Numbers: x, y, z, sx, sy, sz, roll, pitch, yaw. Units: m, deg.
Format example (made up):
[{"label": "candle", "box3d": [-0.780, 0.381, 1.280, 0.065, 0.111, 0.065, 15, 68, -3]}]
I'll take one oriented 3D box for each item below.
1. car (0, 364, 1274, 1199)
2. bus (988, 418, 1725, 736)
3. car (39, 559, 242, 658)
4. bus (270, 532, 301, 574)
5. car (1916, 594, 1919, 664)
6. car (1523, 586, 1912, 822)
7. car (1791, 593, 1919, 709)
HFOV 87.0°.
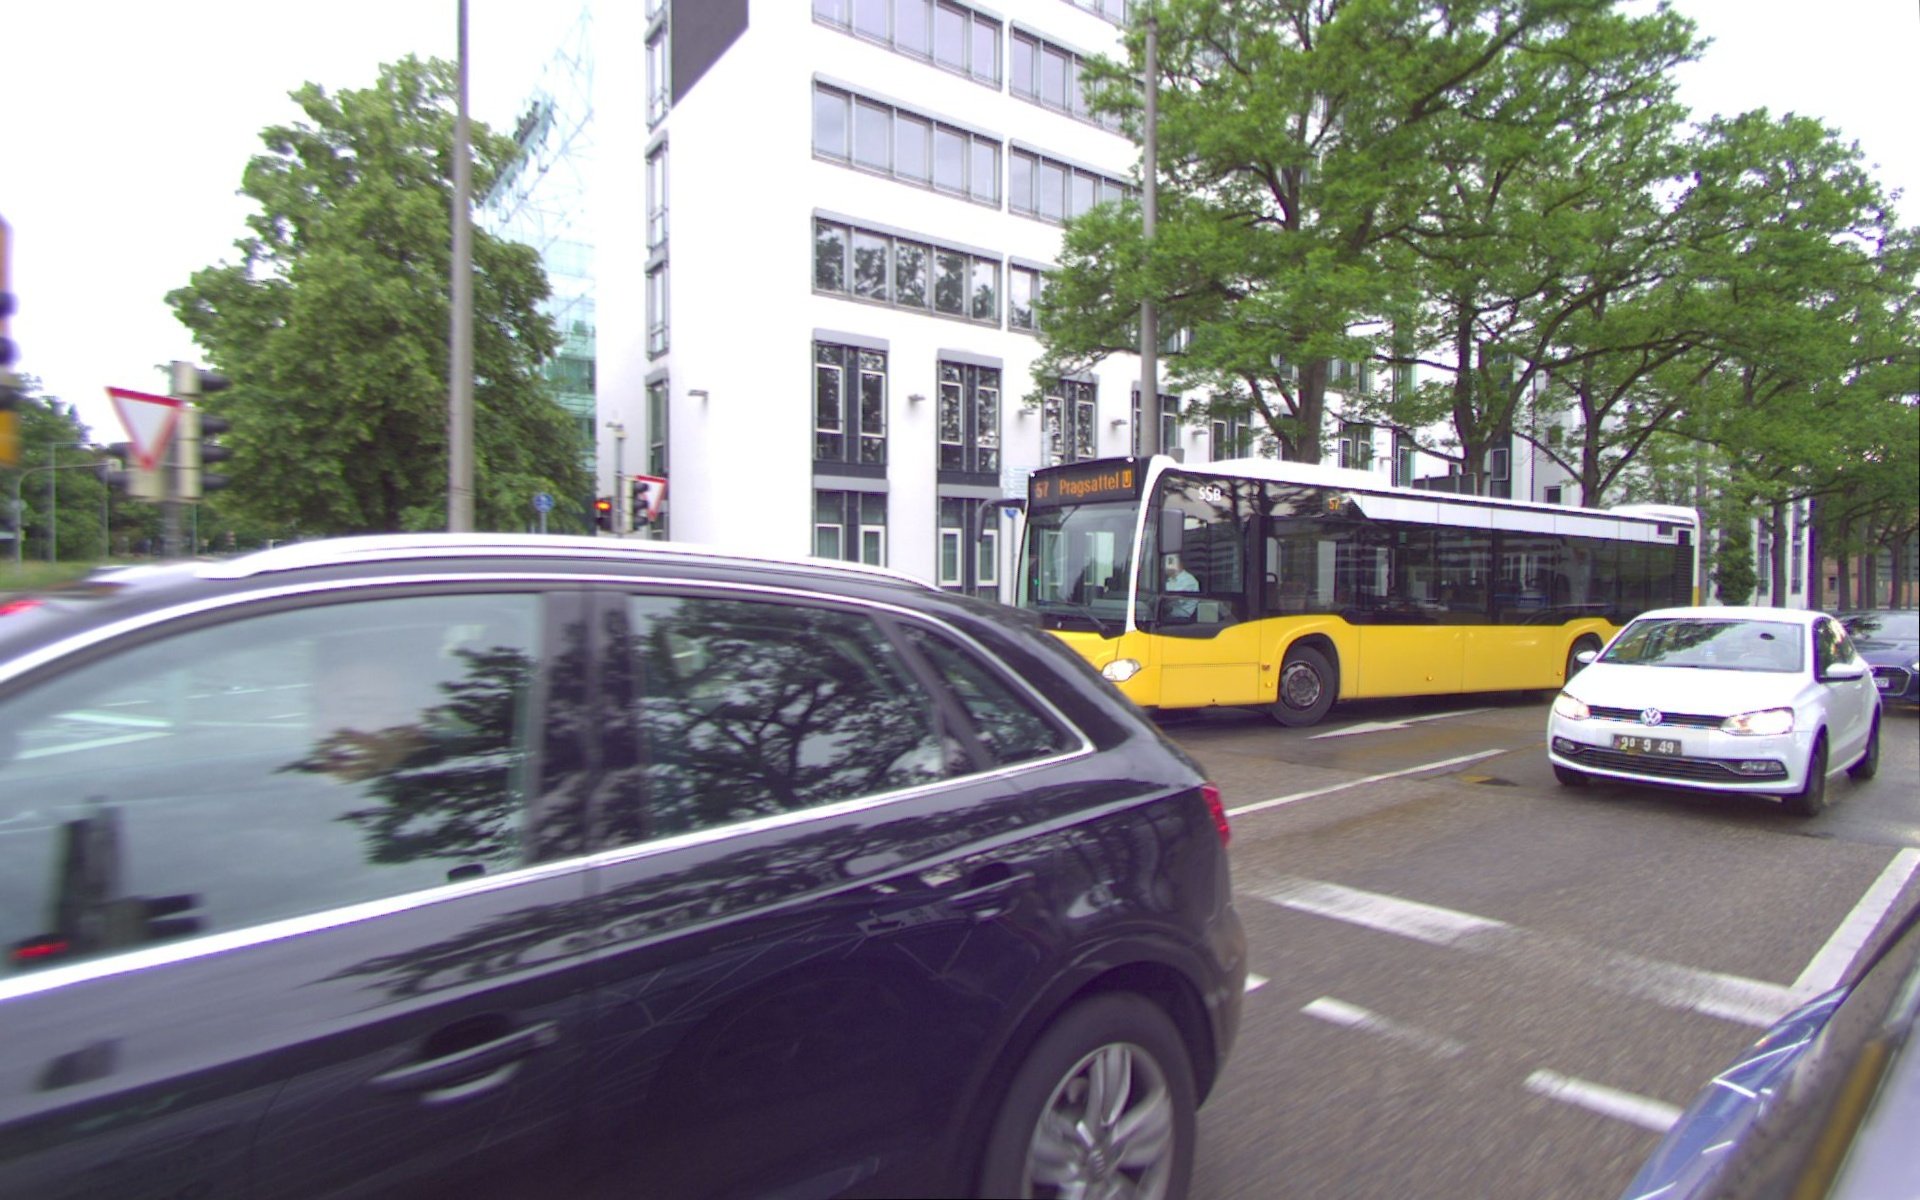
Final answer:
[{"label": "car", "box3d": [-1.401, 0.593, 1.739, 4.043, 1.616, 1.887, -1, 0, -42]}, {"label": "bus", "box3d": [6.205, -0.252, 14.279, 11.901, 3.192, 2.738, 0, -1, -29]}, {"label": "car", "box3d": [-14.682, 0.051, 18.072, 4.128, 1.516, 1.847, 2, 4, 37]}, {"label": "bus", "box3d": [-61.199, -4.196, 91.857, 2.293, 3.607, 6.499, 0, 1, -33]}, {"label": "car", "box3d": [22.060, 0.563, 21.754, 3.486, 1.453, 1.626, -1, 0, -37]}, {"label": "car", "box3d": [6.306, 0.637, 8.290, 3.744, 1.449, 1.744, -1, 2, -40]}, {"label": "car", "box3d": [13.250, 0.630, 14.267, 4.261, 1.371, 1.874, -2, 0, -44]}]
